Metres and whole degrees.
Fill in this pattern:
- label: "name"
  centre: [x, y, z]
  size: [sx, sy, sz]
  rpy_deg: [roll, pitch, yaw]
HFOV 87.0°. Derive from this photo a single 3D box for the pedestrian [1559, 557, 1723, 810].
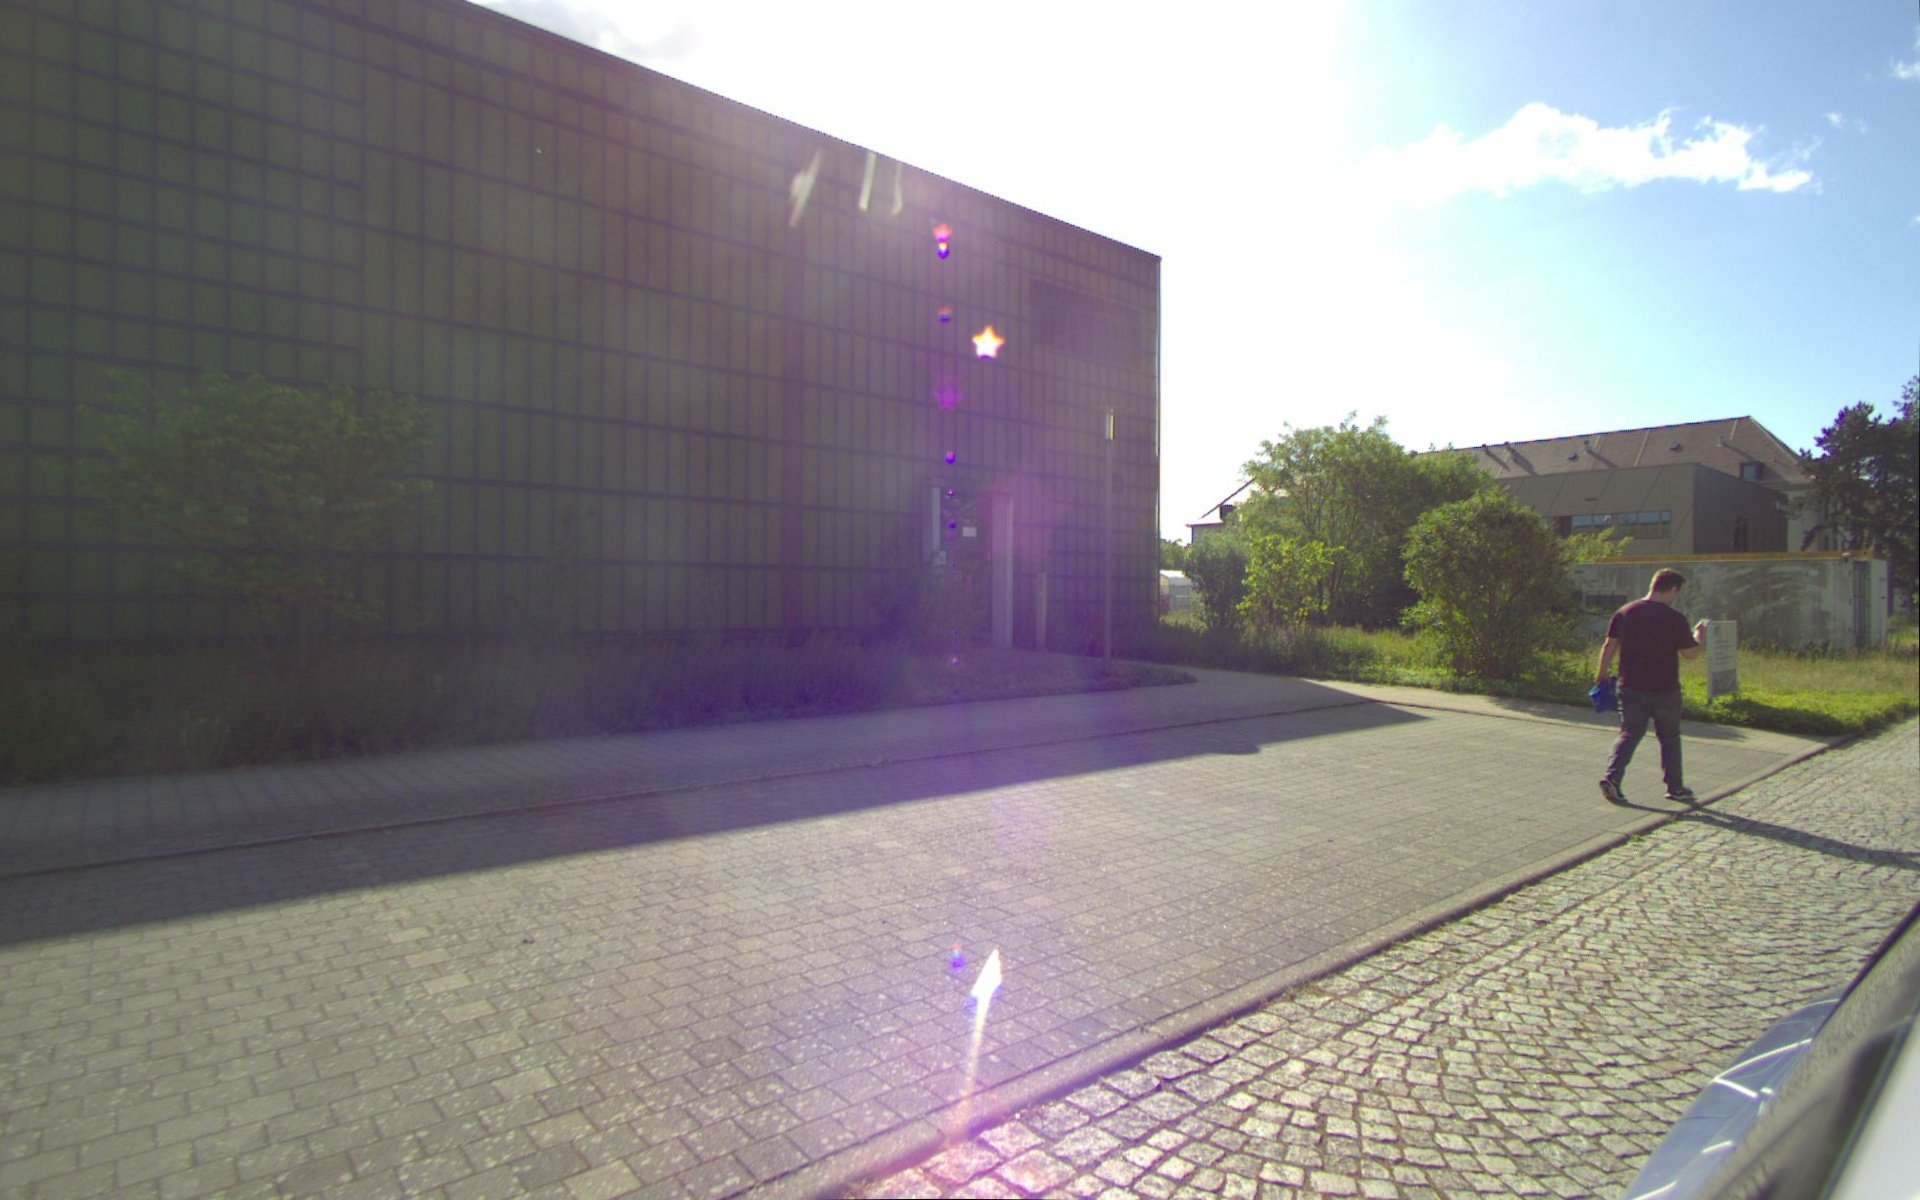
- label: "pedestrian"
  centre: [5.300, 0.588, 7.866]
  size: [1.050, 1.803, 0.796]
  rpy_deg: [1, 1, -42]
